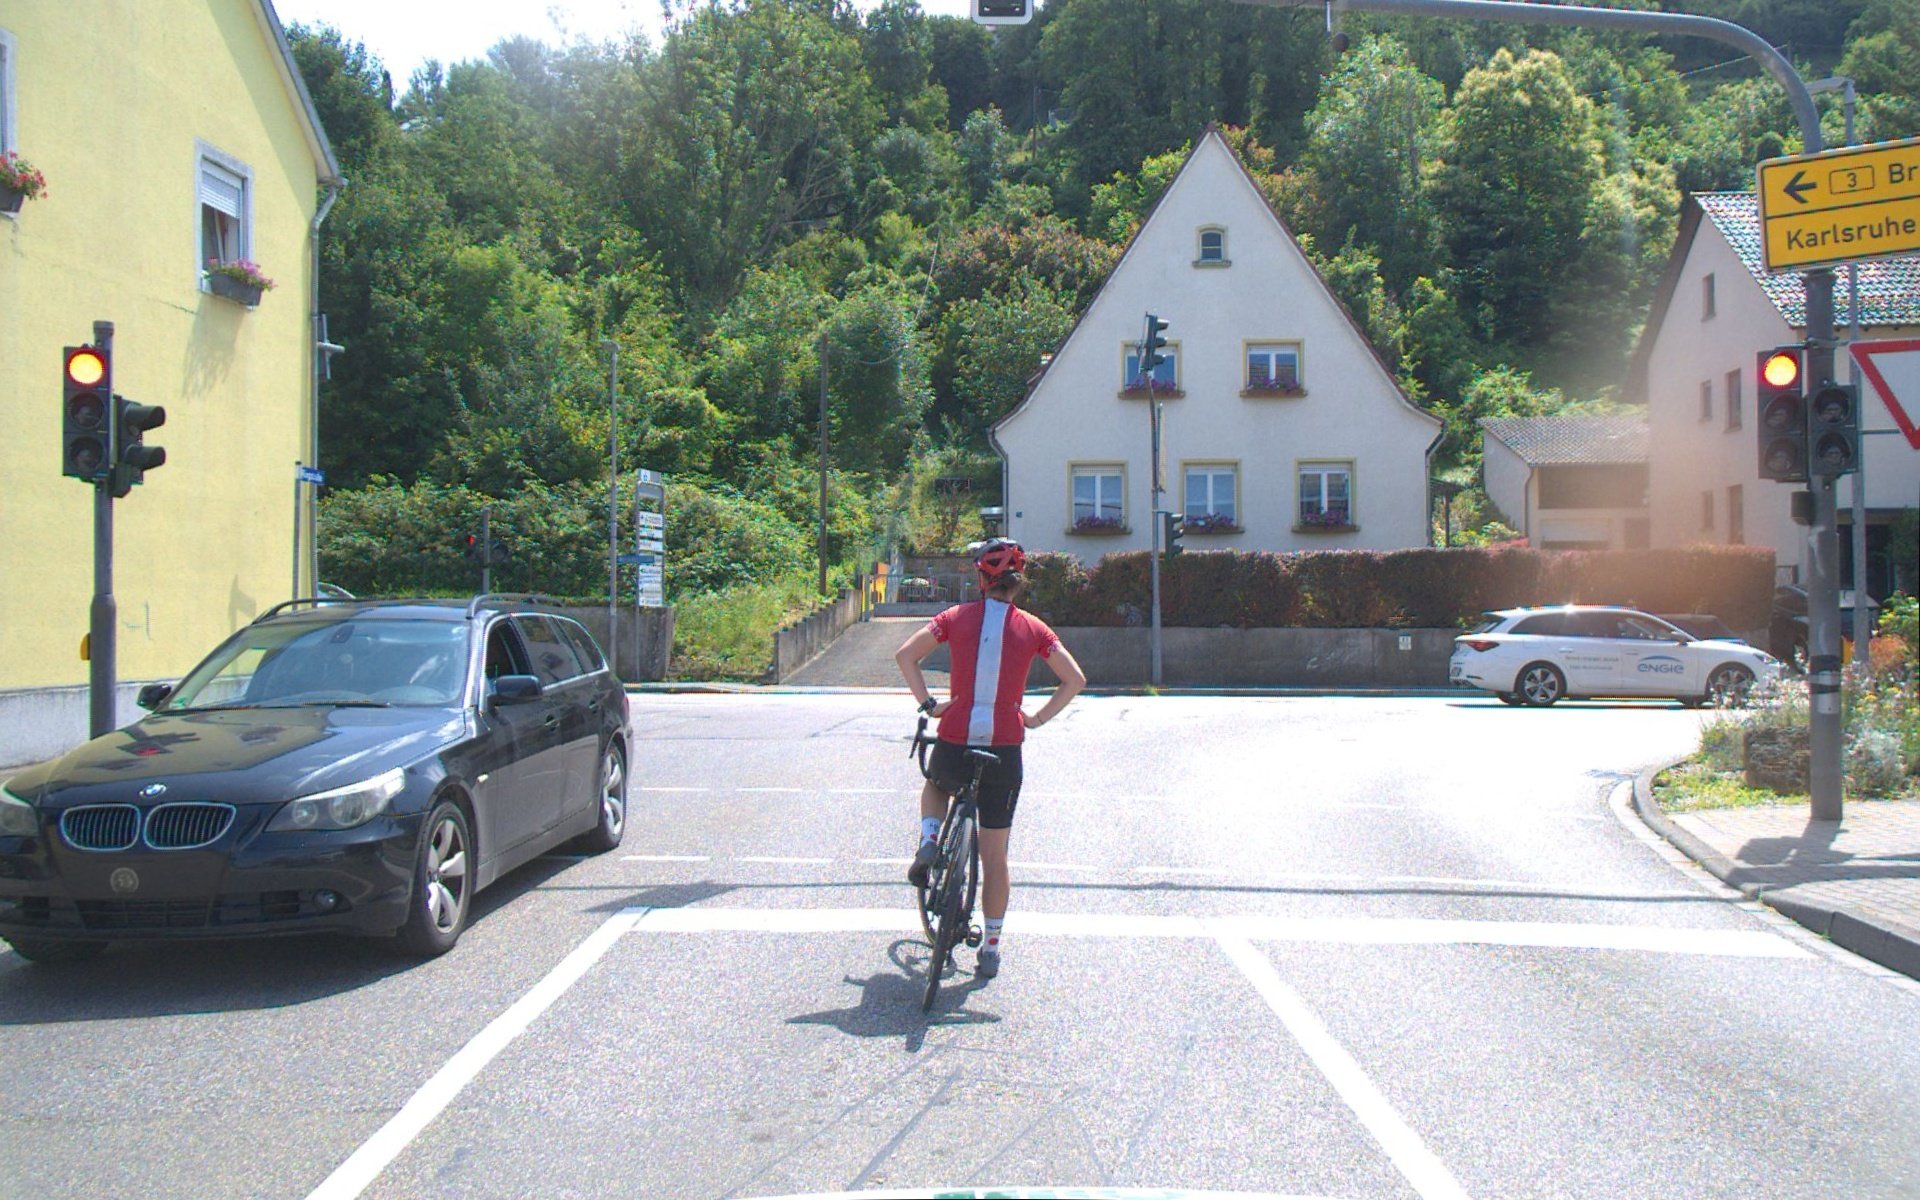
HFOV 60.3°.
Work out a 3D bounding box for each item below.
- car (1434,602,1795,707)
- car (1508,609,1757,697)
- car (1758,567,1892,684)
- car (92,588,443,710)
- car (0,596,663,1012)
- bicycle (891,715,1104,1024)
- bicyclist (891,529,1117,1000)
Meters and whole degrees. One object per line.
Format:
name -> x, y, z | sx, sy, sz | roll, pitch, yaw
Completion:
car -> 9.468, 0.790, 24.248 | 4.564, 1.452, 1.929 | 0, -2, 6
car -> 11.216, 0.899, 27.757 | 3.533, 1.387, 1.645 | 1, -3, 3
car -> 17.042, 0.449, 32.745 | 1.758, 1.411, 3.696 | 0, 14, 18
car -> -11.021, 0.778, 26.507 | 4.769, 1.854, 2.001 | 0, -2, 7
car -> -2.922, 0.735, 8.290 | 1.825, 1.467, 4.672 | -1, 0, 2
bicycle -> 0.094, 0.970, 6.415 | 0.617, 0.920, 1.655 | 1, 0, -6
bicyclist -> 0.143, 0.599, 6.426 | 0.746, 1.693, 0.867 | 1, 0, -6
